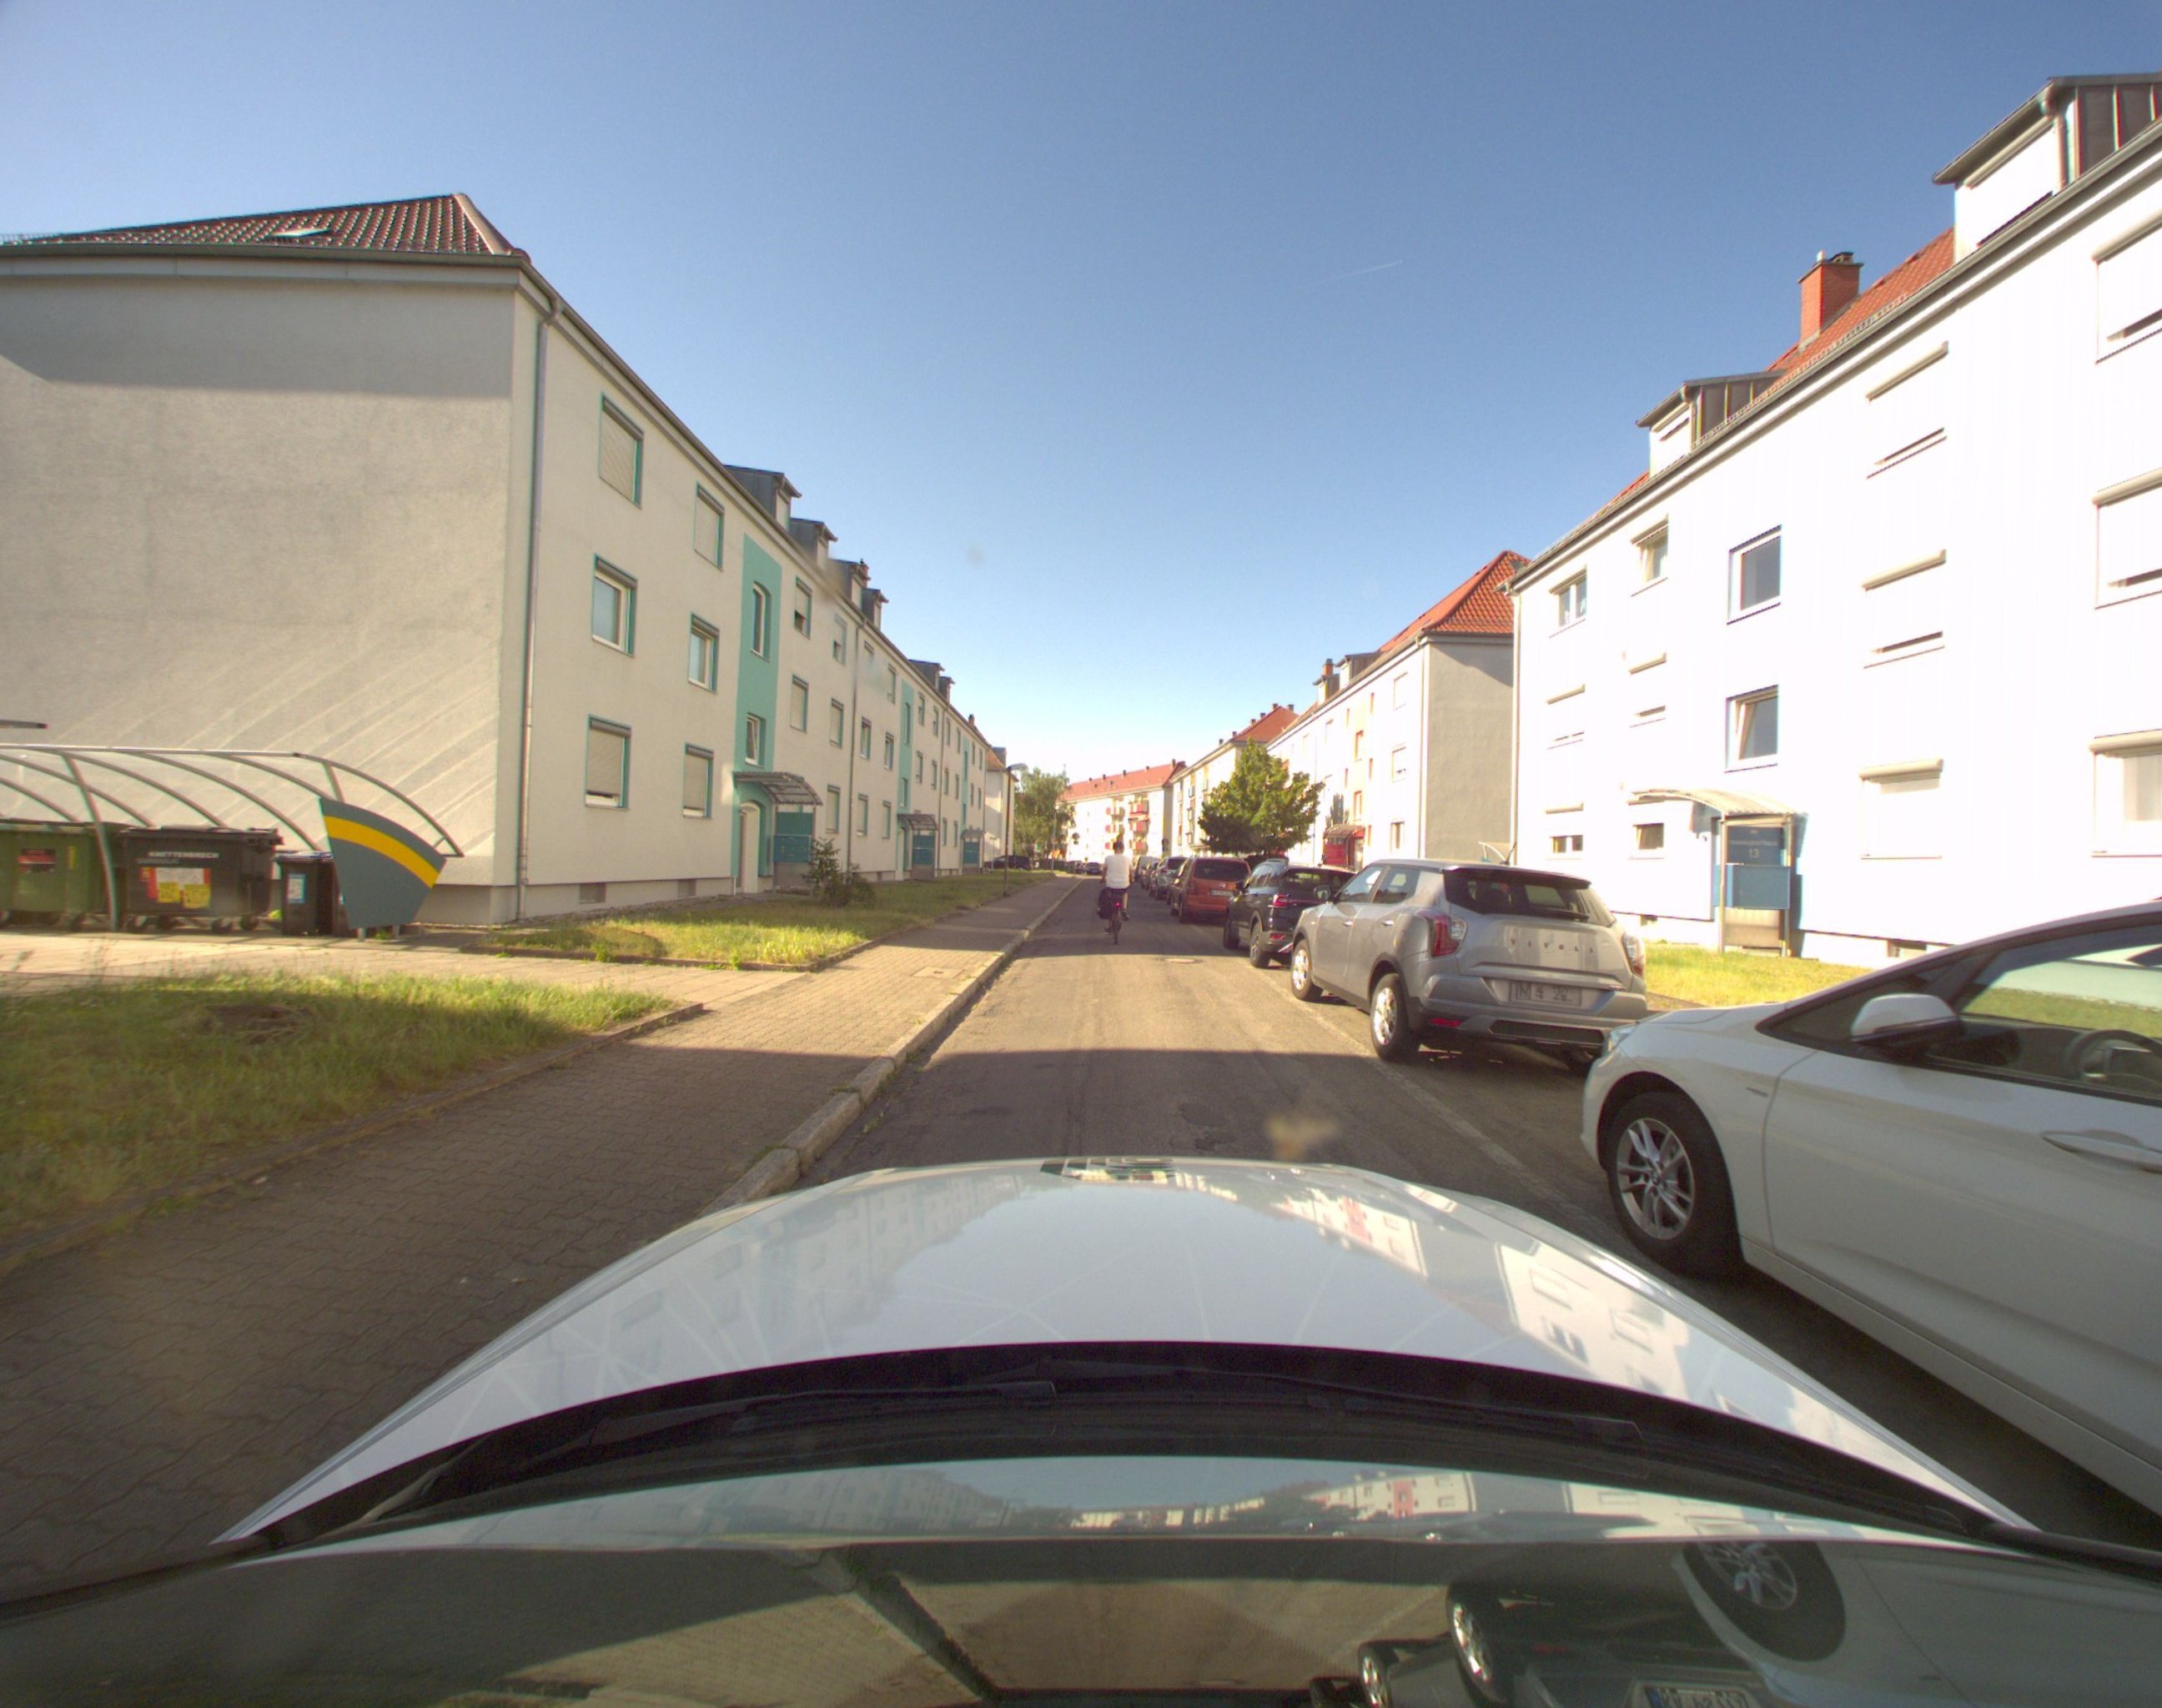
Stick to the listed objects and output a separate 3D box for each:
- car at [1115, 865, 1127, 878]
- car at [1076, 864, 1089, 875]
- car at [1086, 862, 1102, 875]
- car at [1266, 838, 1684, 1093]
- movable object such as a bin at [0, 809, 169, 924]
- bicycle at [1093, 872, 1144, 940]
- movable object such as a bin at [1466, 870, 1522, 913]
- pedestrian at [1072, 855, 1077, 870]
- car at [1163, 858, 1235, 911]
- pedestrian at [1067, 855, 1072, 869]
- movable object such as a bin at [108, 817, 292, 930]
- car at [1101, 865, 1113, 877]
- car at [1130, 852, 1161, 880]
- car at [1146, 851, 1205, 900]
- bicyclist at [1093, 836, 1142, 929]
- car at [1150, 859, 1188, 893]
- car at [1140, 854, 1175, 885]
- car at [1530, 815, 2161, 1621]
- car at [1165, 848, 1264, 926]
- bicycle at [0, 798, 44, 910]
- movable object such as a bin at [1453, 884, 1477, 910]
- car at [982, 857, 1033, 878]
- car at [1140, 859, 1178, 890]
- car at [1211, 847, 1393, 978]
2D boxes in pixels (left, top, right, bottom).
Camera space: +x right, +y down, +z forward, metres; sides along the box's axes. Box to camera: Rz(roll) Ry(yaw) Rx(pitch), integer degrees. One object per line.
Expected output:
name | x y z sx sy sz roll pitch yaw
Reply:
car | 5.089 2.257 104.176 1.377 1.497 3.076 3 0 0
car | 0.180 1.851 98.931 1.465 1.335 3.139 -2 -1 -1
car | 1.367 1.505 87.875 1.466 1.335 3.137 -1 -1 -3
car | 3.208 0.774 7.796 1.745 1.617 4.451 4 0 0
movable object such as a bin | -12.572 0.149 10.203 1.254 1.348 0.801 2 0 -9
bicycle | 0.652 0.908 14.911 0.806 1.128 2.101 1 -1 -1
movable object such as a bin | 14.404 1.301 28.451 1.355 1.416 1.188 2 -1 1
pedestrian | -0.647 0.892 84.063 0.432 1.574 0.543 2 0 1
car | 3.700 0.915 26.122 1.613 1.460 3.839 4 0 -1
pedestrian | -1.152 0.853 83.985 0.432 1.427 0.543 2 0 1
movable object such as a bin | -11.246 0.249 10.454 1.250 1.356 0.903 2 -1 -10
car | 3.748 2.428 116.959 1.465 1.516 3.076 3 0 0
car | 4.324 0.799 54.766 1.669 1.739 3.941 3 0 0
car | 3.571 0.789 31.444 1.695 1.671 4.379 3 0 0
bicyclist | 0.654 0.507 14.878 0.806 1.643 0.898 1 -1 -1
car | 3.921 0.972 36.652 1.386 1.403 3.245 3 -1 2
car | 4.223 0.835 45.410 1.554 1.576 3.365 3 0 0
car | 2.991 0.756 1.670 1.684 1.575 4.435 3 0 1
car | 3.270 0.784 20.672 1.855 1.668 4.128 4 -1 2
bicycle | -14.909 -0.022 10.268 0.700 1.510 2.199 3 0 2
movable object such as a bin | 13.453 1.502 28.546 0.521 0.886 0.633 2 -1 2
car | -6.244 1.106 69.258 4.221 1.638 1.581 2 -1 -3
car | 3.852 0.984 40.510 1.553 1.411 3.934 3 0 2
car | 3.280 0.789 13.005 1.706 1.595 4.398 5 0 1
